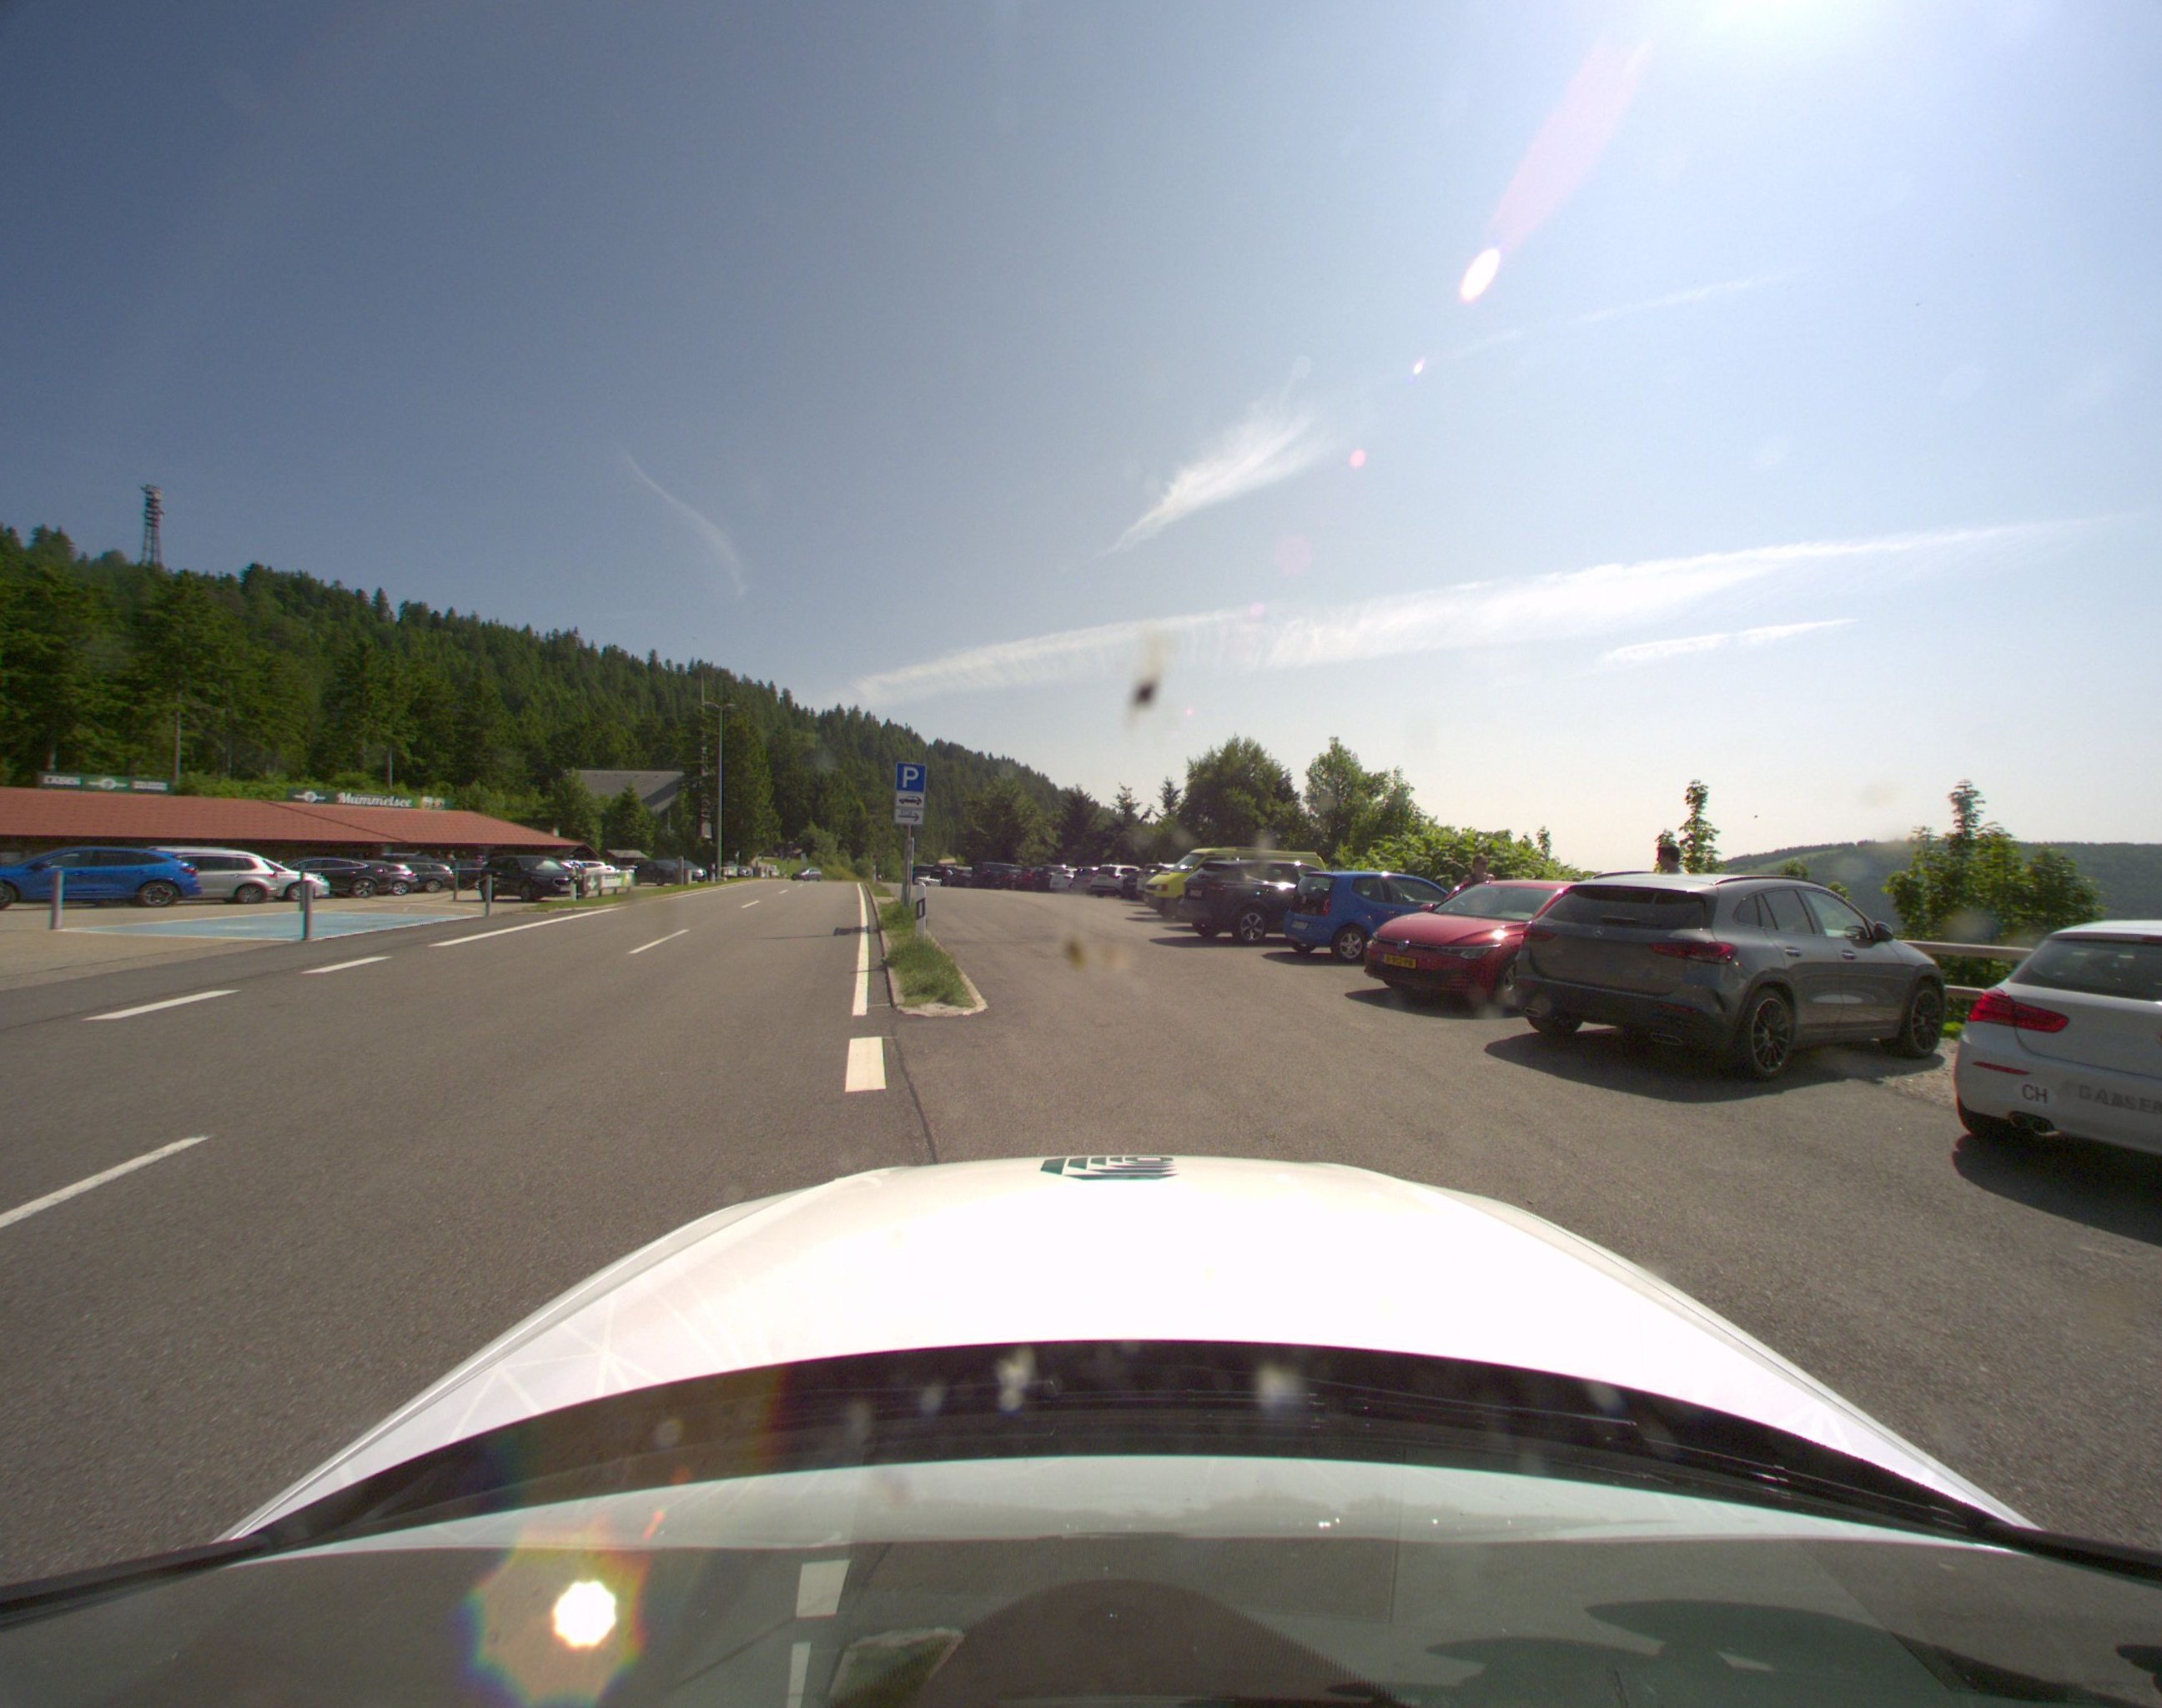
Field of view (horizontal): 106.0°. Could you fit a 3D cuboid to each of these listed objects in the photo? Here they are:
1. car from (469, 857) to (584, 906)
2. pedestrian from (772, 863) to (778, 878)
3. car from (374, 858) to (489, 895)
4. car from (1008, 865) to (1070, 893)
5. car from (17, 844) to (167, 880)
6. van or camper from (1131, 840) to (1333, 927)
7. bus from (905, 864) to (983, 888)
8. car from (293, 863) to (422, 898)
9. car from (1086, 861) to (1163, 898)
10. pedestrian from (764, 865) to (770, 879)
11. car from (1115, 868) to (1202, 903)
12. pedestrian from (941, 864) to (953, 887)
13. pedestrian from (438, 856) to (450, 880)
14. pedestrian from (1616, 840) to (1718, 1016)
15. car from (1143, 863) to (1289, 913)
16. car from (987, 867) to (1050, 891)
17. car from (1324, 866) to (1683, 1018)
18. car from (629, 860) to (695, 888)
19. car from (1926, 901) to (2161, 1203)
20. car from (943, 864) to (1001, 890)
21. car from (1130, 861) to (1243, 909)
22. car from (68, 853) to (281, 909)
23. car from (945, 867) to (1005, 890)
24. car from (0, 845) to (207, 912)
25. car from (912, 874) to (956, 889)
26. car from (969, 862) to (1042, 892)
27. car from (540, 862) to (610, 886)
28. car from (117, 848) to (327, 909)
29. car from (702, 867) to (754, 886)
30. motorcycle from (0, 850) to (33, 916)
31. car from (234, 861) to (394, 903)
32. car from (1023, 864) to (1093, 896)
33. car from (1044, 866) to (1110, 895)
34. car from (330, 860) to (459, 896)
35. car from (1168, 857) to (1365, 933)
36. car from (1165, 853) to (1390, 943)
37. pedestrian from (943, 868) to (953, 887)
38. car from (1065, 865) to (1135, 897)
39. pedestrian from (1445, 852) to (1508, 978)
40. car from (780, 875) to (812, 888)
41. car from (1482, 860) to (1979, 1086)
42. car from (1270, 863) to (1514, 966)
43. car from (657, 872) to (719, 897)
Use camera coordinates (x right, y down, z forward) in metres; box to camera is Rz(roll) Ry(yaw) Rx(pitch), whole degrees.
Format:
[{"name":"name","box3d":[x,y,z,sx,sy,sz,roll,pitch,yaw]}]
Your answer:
[{"name":"car","box3d":[-19.109,0.883,28.023,4.138,1.540,1.819,0,0,33]},{"name":"pedestrian","box3d":[-38.109,2.093,101.352,0.655,1.799,0.638,2,0,-22]},{"name":"car","box3d":[-31.349,1.043,39.408,1.802,1.704,4.025,0,0,35]},{"name":"car","box3d":[-2.718,1.662,53.668,1.840,1.590,4.024,1,-3,37]},{"name":"car","box3d":[-43.793,0.336,36.169,1.886,1.530,3.905,0,0,28]},{"name":"van or camper","box3d":[4.139,0.814,22.521,5.094,2.014,1.874,4,-1,-12]},{"name":"bus","box3d":[-23.490,3.727,139.999,12.813,3.578,2.983,2,0,1]},{"name":"car","box3d":[-29.886,1.061,33.748,1.568,1.321,3.661,0,0,28]},{"name":"car","box3d":[2.293,1.352,42.261,1.840,1.695,4.252,1,-2,37]},{"name":"pedestrian","box3d":[-38.955,2.261,100.906,0.655,1.667,0.638,1,-3,-22]},{"name":"car","box3d":[3.730,1.515,38.756,4.073,1.461,1.872,5,-3,-44]},{"name":"pedestrian","box3d":[-10.614,1.685,64.468,0.575,1.761,0.635,3,-3,12]},{"name":"pedestrian","box3d":[-51.272,1.140,65.529,0.540,1.874,0.531,0,-2,28]},{"name":"pedestrian","box3d":[6.661,0.820,9.279,0.608,1.900,0.677,3,-2,-9]},{"name":"car","box3d":[4.372,1.067,26.434,4.362,1.487,1.801,0,0,-18]},{"name":"car","box3d":[-4.274,1.709,56.033,4.021,1.415,1.724,5,-3,-42]},{"name":"car","box3d":[5.210,1.010,10.030,4.005,1.510,1.828,3,-1,-25]},{"name":"car","box3d":[-24.421,1.121,47.408,3.948,1.552,1.794,0,0,36]},{"name":"car","box3d":[6.974,1.067,4.733,4.005,1.386,1.644,3,-1,-25]},{"name":"car","box3d":[-8.586,1.840,64.174,4.020,1.662,1.976,8,-6,-42]},{"name":"car","box3d":[4.190,1.250,32.191,4.201,1.650,1.871,5,-3,-35]},{"name":"car","box3d":[-27.507,0.744,24.852,1.974,1.546,4.025,0,0,31]},{"name":"car","box3d":[-7.961,1.846,61.450,4.017,1.443,1.819,5,-3,-36]},{"name":"car","box3d":[-26.827,0.626,21.629,1.915,1.664,4.573,0,-1,30]},{"name":"car","box3d":[-16.611,3.152,92.164,4.481,1.299,1.566,7,-4,-31]},{"name":"car","box3d":[-5.423,1.644,58.538,4.791,1.880,1.946,5,-3,-34]},{"name":"car","box3d":[-37.478,1.467,60.443,1.754,1.672,4.055,-2,-1,29]},{"name":"car","box3d":[-28.453,0.749,27.150,1.812,1.863,4.559,0,0,32]},{"name":"car","box3d":[-31.324,1.980,72.296,4.159,1.634,1.799,0,-3,24]},{"name":"motorcycle","box3d":[-23.962,0.580,16.926,0.993,1.407,2.459,-1,-4,28]},{"name":"car","box3d":[-28.835,0.990,30.748,1.890,1.430,4.025,0,0,29]},{"name":"car","box3d":[-1.384,1.621,50.461,1.965,1.695,4.299,1,-3,37]},{"name":"car","box3d":[-0.176,1.600,48.388,1.745,1.476,4.024,1,-3,37]},{"name":"car","box3d":[-30.783,1.022,36.662,1.694,1.486,4.105,0,0,30]},{"name":"car","box3d":[4.305,0.941,19.098,4.153,1.589,1.698,2,-1,-12]},{"name":"car","box3d":[3.922,0.876,16.375,4.000,1.614,1.903,3,-1,-20]},{"name":"pedestrian","box3d":[-10.207,1.812,62.420,0.773,1.403,0.667,0,0,-9]},{"name":"car","box3d":[1.125,1.520,45.541,1.797,1.549,4.024,1,-3,37]},{"name":"pedestrian","box3d":[5.617,0.852,11.565,0.506,1.725,0.562,4,-2,-28]},{"name":"car","box3d":[-33.274,3.178,95.141,1.565,1.429,3.392,0,0,29]},{"name":"car","box3d":[6.107,0.959,7.607,4.418,1.568,1.892,3,-1,-26]},{"name":"car","box3d":[5.286,1.010,13.964,3.586,1.496,1.640,3,-1,-14]},{"name":"car","box3d":[-26.248,1.992,54.310,4.008,1.568,1.751,0,-1,31]}]
